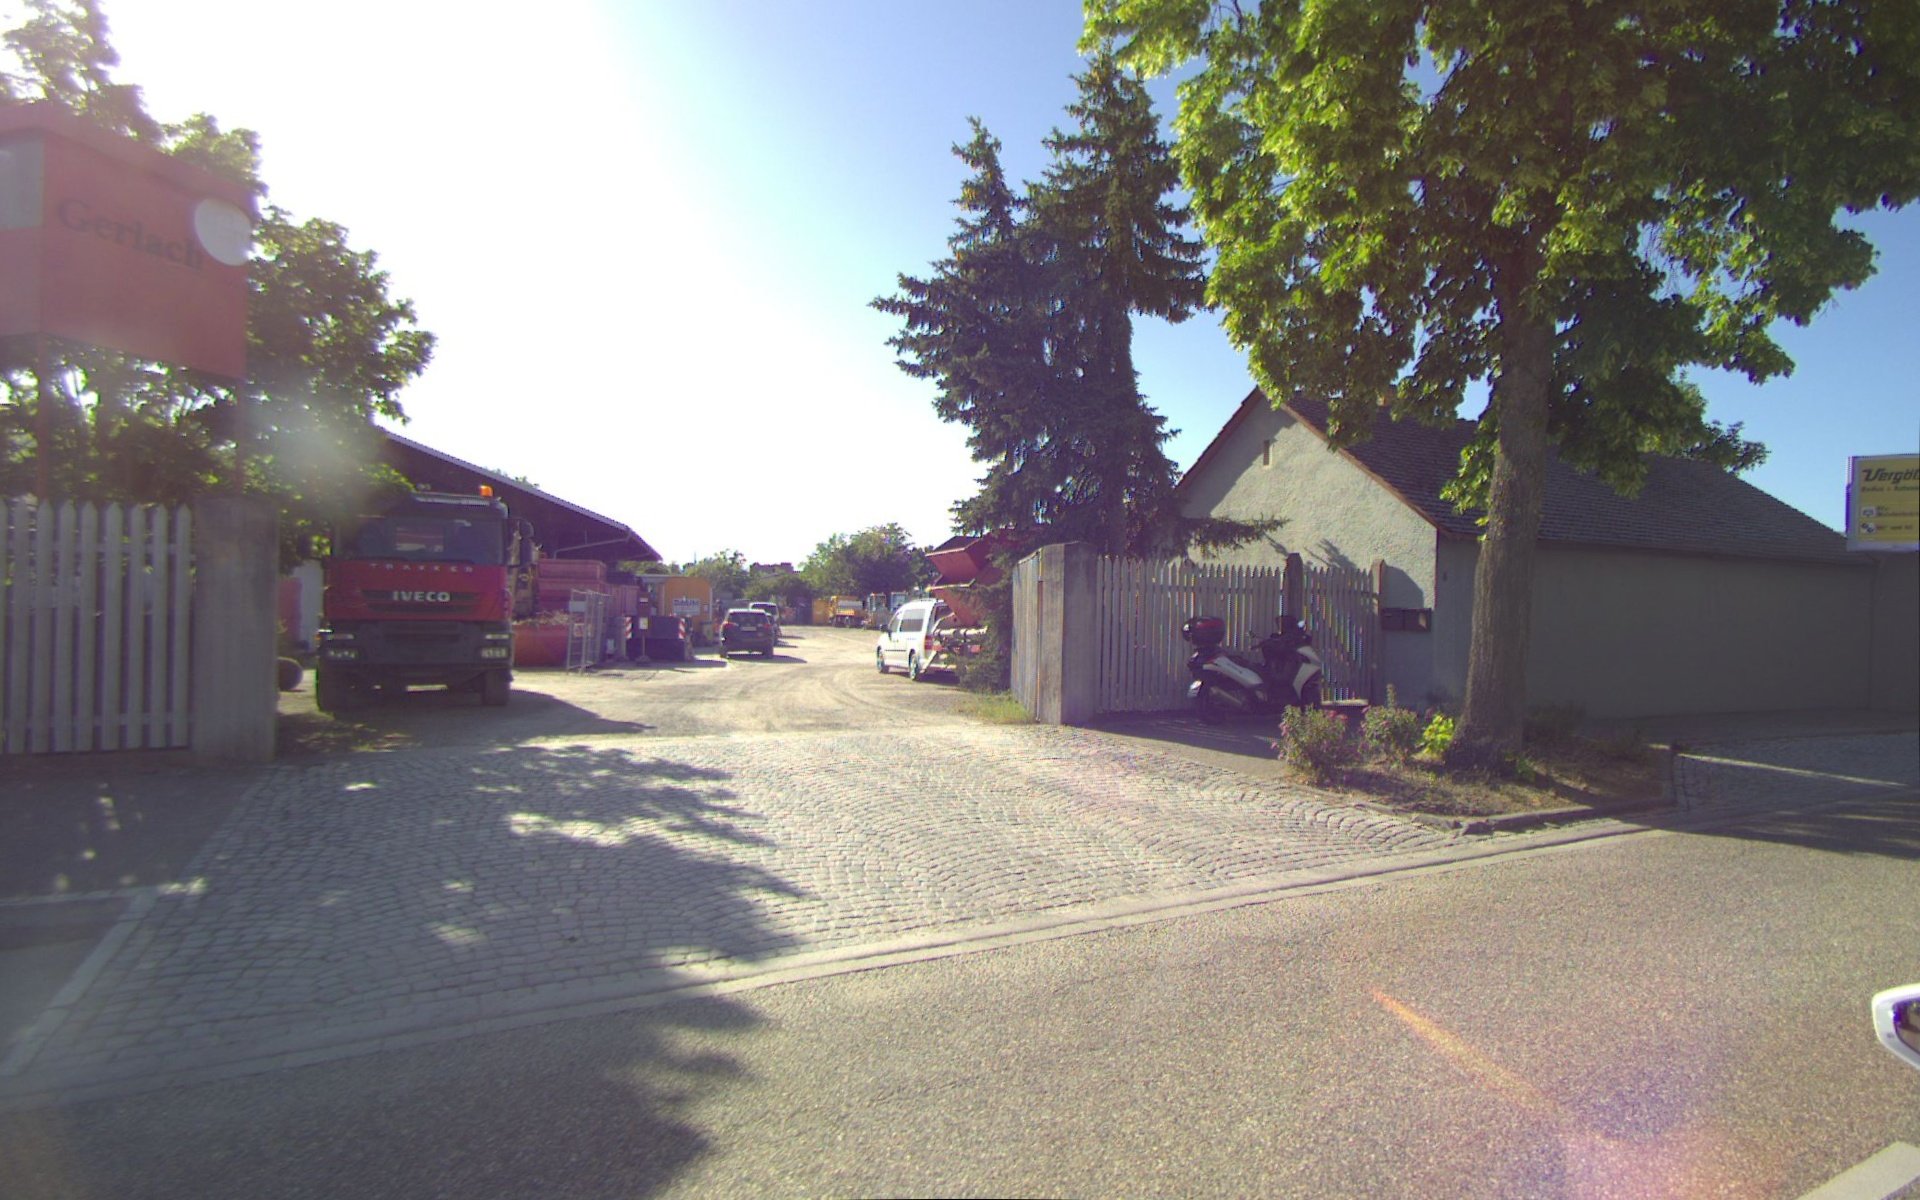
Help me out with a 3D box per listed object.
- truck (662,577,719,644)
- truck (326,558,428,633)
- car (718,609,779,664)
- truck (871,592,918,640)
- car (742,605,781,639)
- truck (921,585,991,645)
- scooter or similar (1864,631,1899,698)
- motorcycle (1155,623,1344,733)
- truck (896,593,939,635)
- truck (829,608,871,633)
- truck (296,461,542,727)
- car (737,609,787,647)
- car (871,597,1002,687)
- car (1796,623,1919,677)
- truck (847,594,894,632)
[{"bbox_3d":[-13.102,0.523,48.587,2.435,3.002,6.184,1,-1,-17],"label":"truck"},{"bbox_3d":[-26.479,-0.179,45.930,2.457,3.132,6.636,1,-1,-16],"label":"truck"},{"bbox_3d":[-7.434,1.224,35.100,1.828,1.795,3.987,1,-1,-15],"label":"car"},{"bbox_3d":[-4.226,1.020,63.919,2.207,2.869,5.738,1,-1,-11],"label":"truck"},{"bbox_3d":[-11.829,1.300,59.819,1.967,1.951,3.987,1,-1,-16],"label":"car"},{"bbox_3d":[-0.340,0.865,57.726,2.689,3.200,7.249,1,-1,-11],"label":"truck"},{"bbox_3d":[18.737,1.286,20.414,0.477,1.287,1.569,1,0,43],"label":"scooter or similar"},{"bbox_3d":[3.682,0.949,12.688,2.509,1.250,0.696,1,2,-30],"label":"motorcycle"},{"bbox_3d":[-3.118,0.981,71.977,2.207,2.869,5.738,1,-1,-11],"label":"truck"},{"bbox_3d":[-9.262,1.710,84.062,1.973,2.040,4.879,1,-1,-25],"label":"truck"},{"bbox_3d":[-9.117,-0.043,16.719,2.870,3.384,7.372,1,-1,-31],"label":"truck"},{"bbox_3d":[-9.182,1.278,46.437,1.967,1.684,3.987,1,-1,-16],"label":"car"},{"bbox_3d":[-0.679,0.936,24.349,1.887,1.960,4.457,1,0,-19],"label":"car"},{"bbox_3d":[29.193,1.552,31.433,1.966,1.528,4.347,1,0,-14],"label":"car"},{"bbox_3d":[-7.058,1.034,78.976,2.212,2.869,5.723,1,-1,-20],"label":"truck"}]
